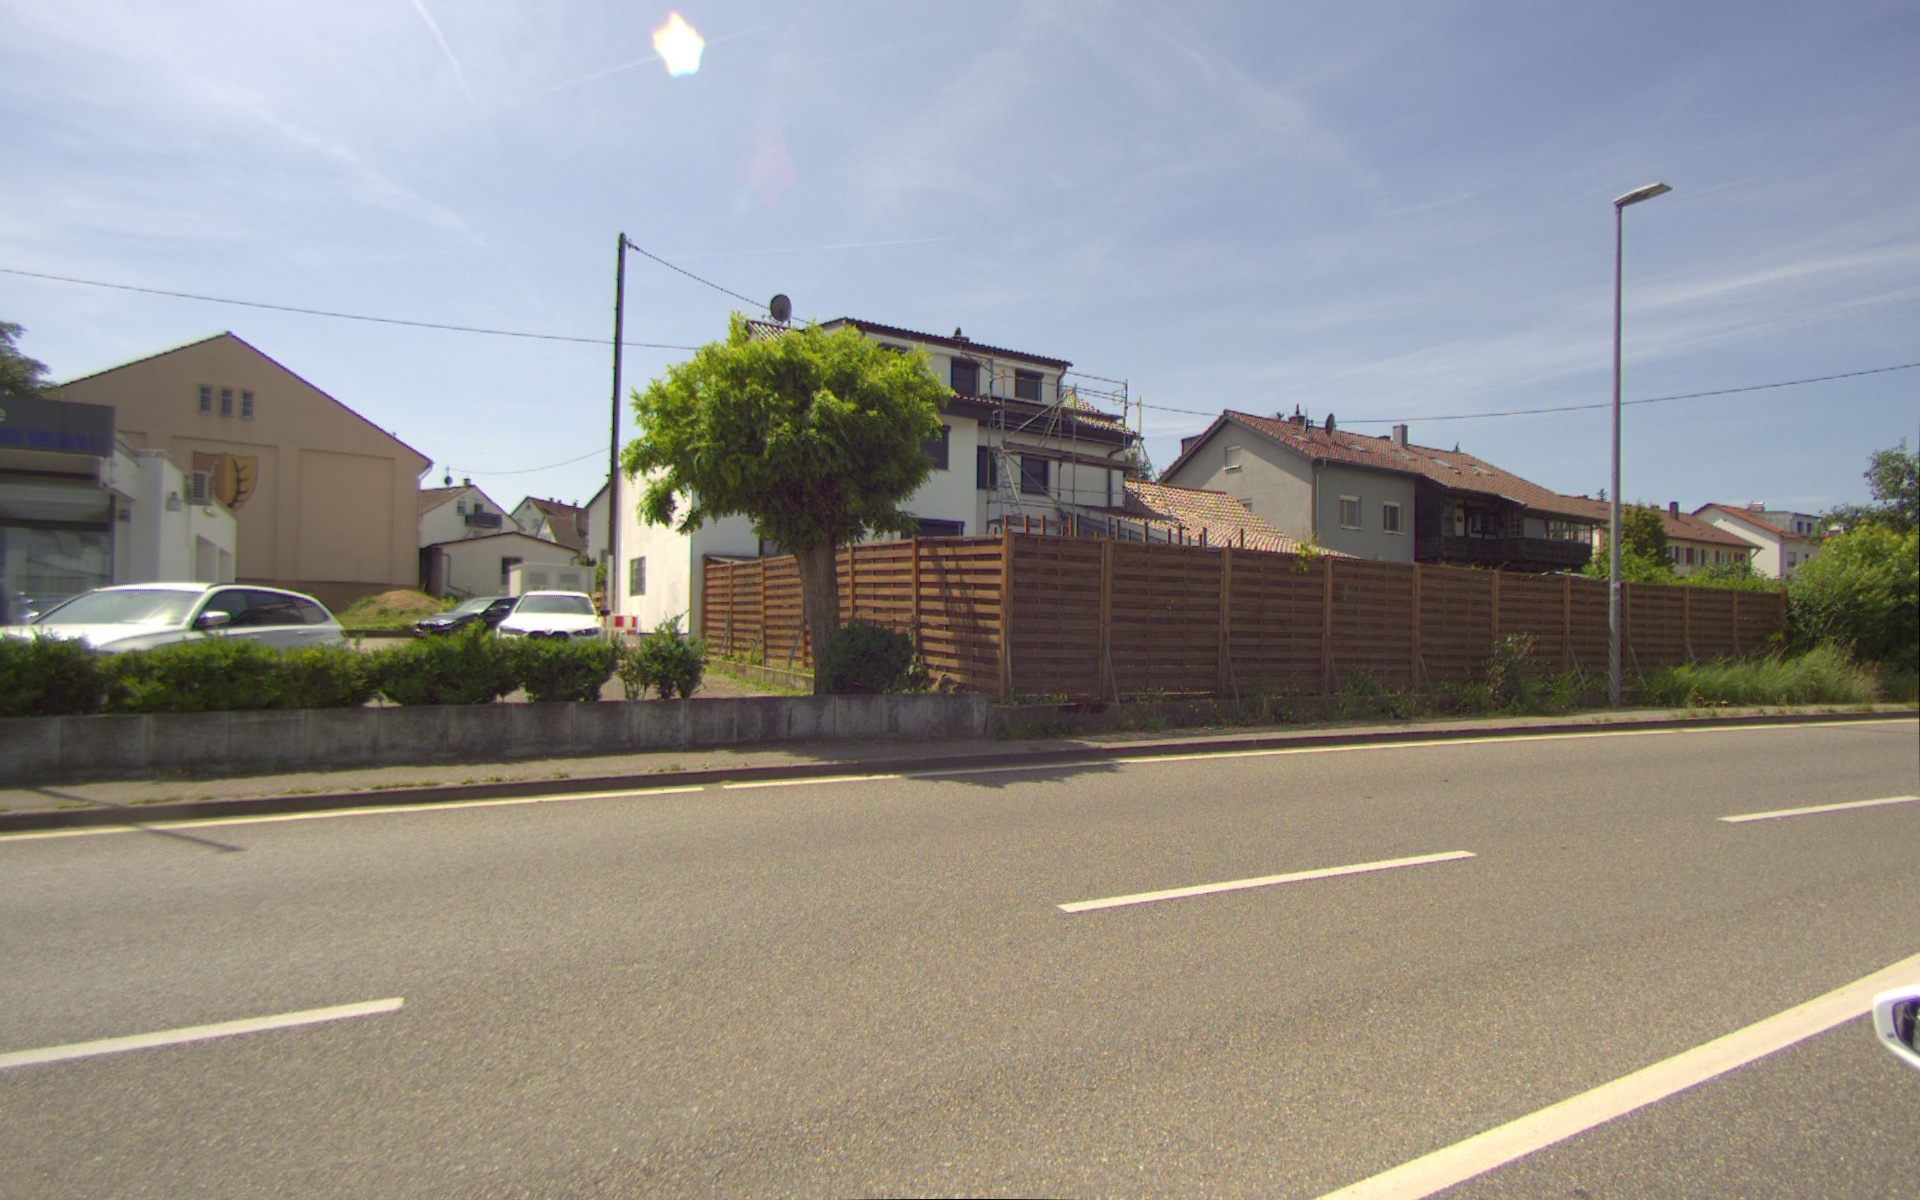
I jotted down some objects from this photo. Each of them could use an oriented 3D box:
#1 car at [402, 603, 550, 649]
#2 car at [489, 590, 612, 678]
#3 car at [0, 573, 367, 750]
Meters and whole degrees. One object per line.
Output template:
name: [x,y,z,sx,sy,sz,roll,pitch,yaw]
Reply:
car: [-14.844,0.757,31.051,1.756,1.238,3.999,2,1,21]
car: [-7.849,0.600,19.570,1.805,1.530,3.985,1,0,-17]
car: [-8.348,0.516,10.632,1.822,1.467,4.339,2,0,-5]
